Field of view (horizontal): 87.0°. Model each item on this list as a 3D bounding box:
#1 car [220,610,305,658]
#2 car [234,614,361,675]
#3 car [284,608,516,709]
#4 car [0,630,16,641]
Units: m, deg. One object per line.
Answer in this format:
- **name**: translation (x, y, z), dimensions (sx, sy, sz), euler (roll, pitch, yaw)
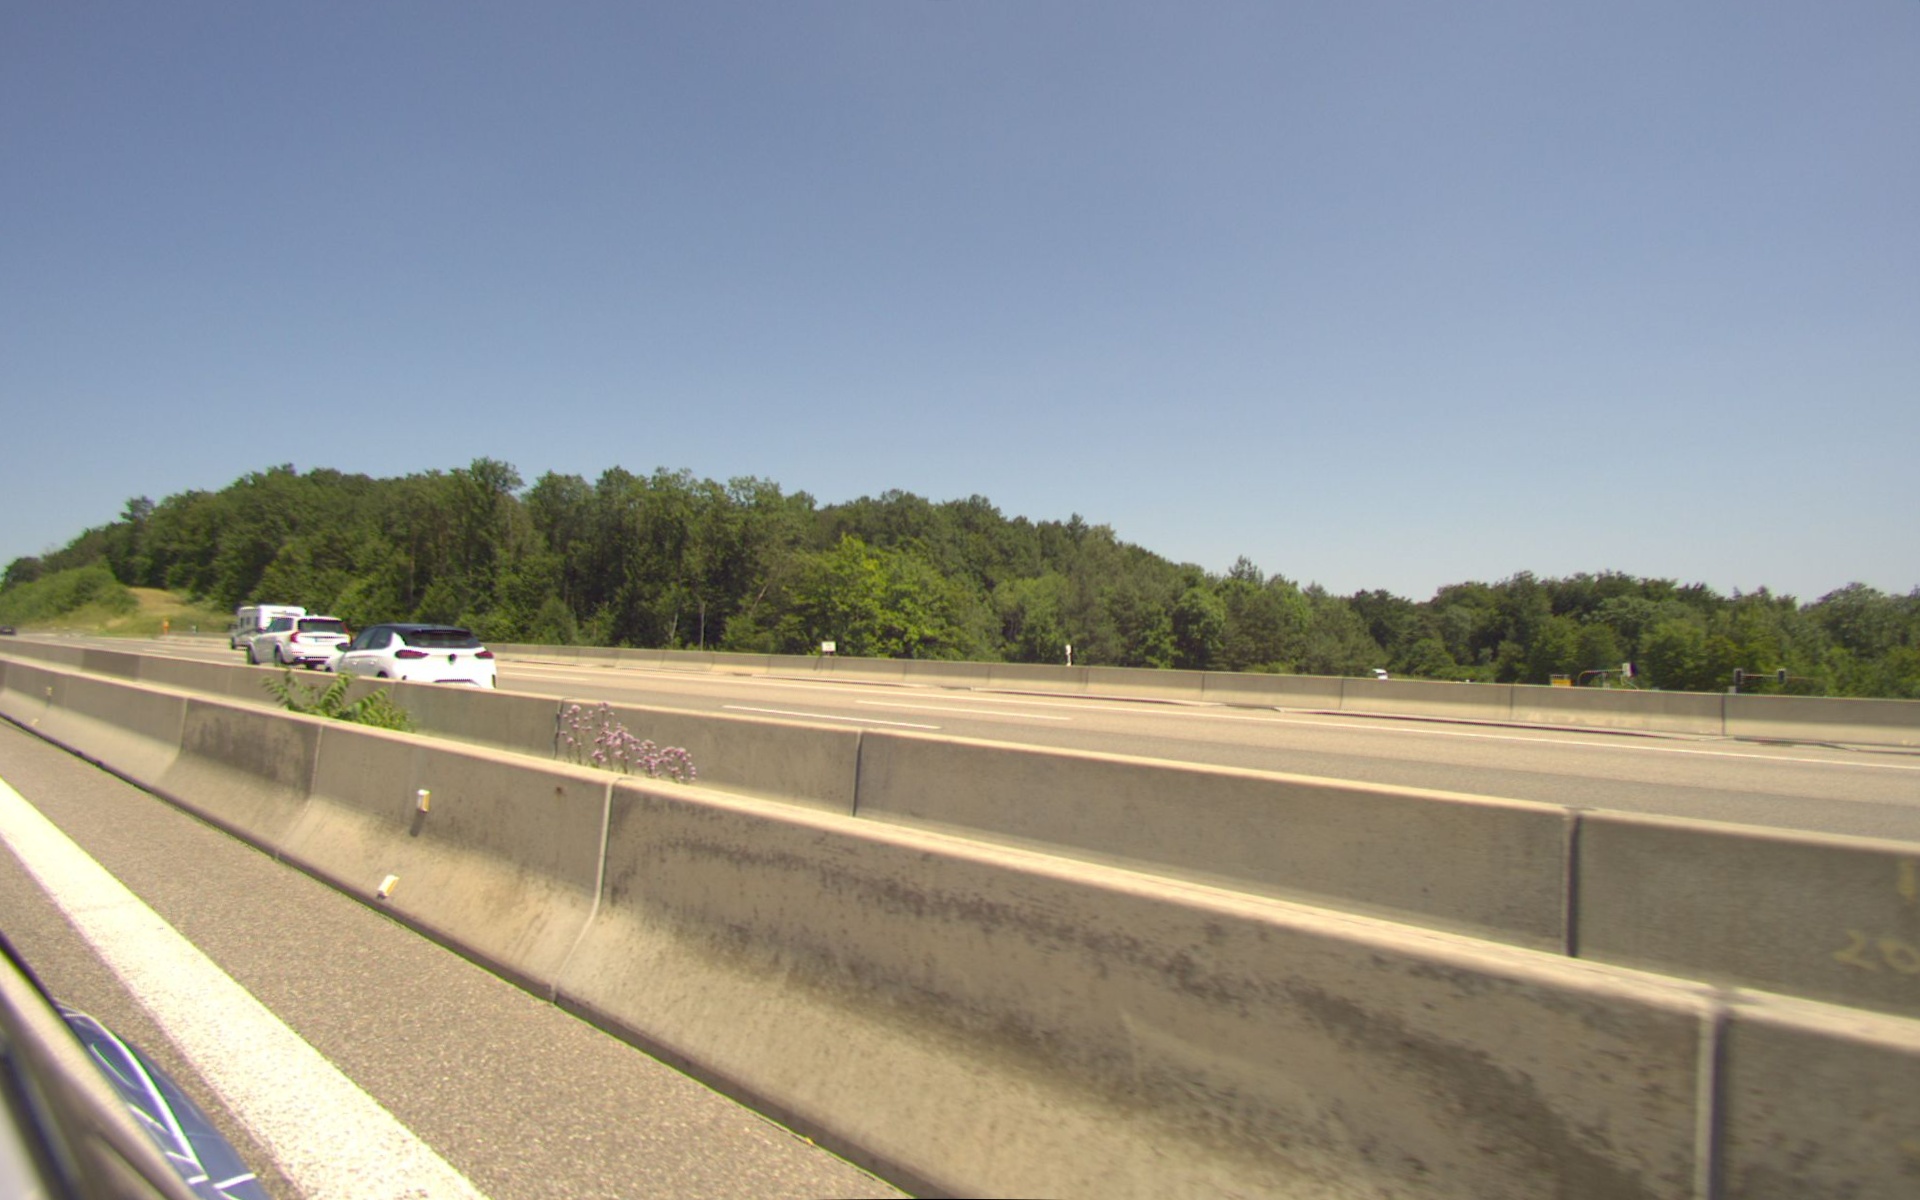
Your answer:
- **car**: translation (-41.828, 2.043, 60.583), dimensions (8.171, 2.679, 2.198), euler (-1, -4, 41)
- **car**: translation (-21.302, 1.408, 32.425), dimensions (5.316, 1.801, 1.973), euler (-1, -4, 41)
- **car**: translation (-10.008, 0.979, 17.882), dimensions (5.316, 1.535, 1.829), euler (-1, -4, 41)
- **car**: translation (-136.282, 5.035, 144.303), dimensions (4.760, 1.452, 1.820), euler (-1, -4, 40)
